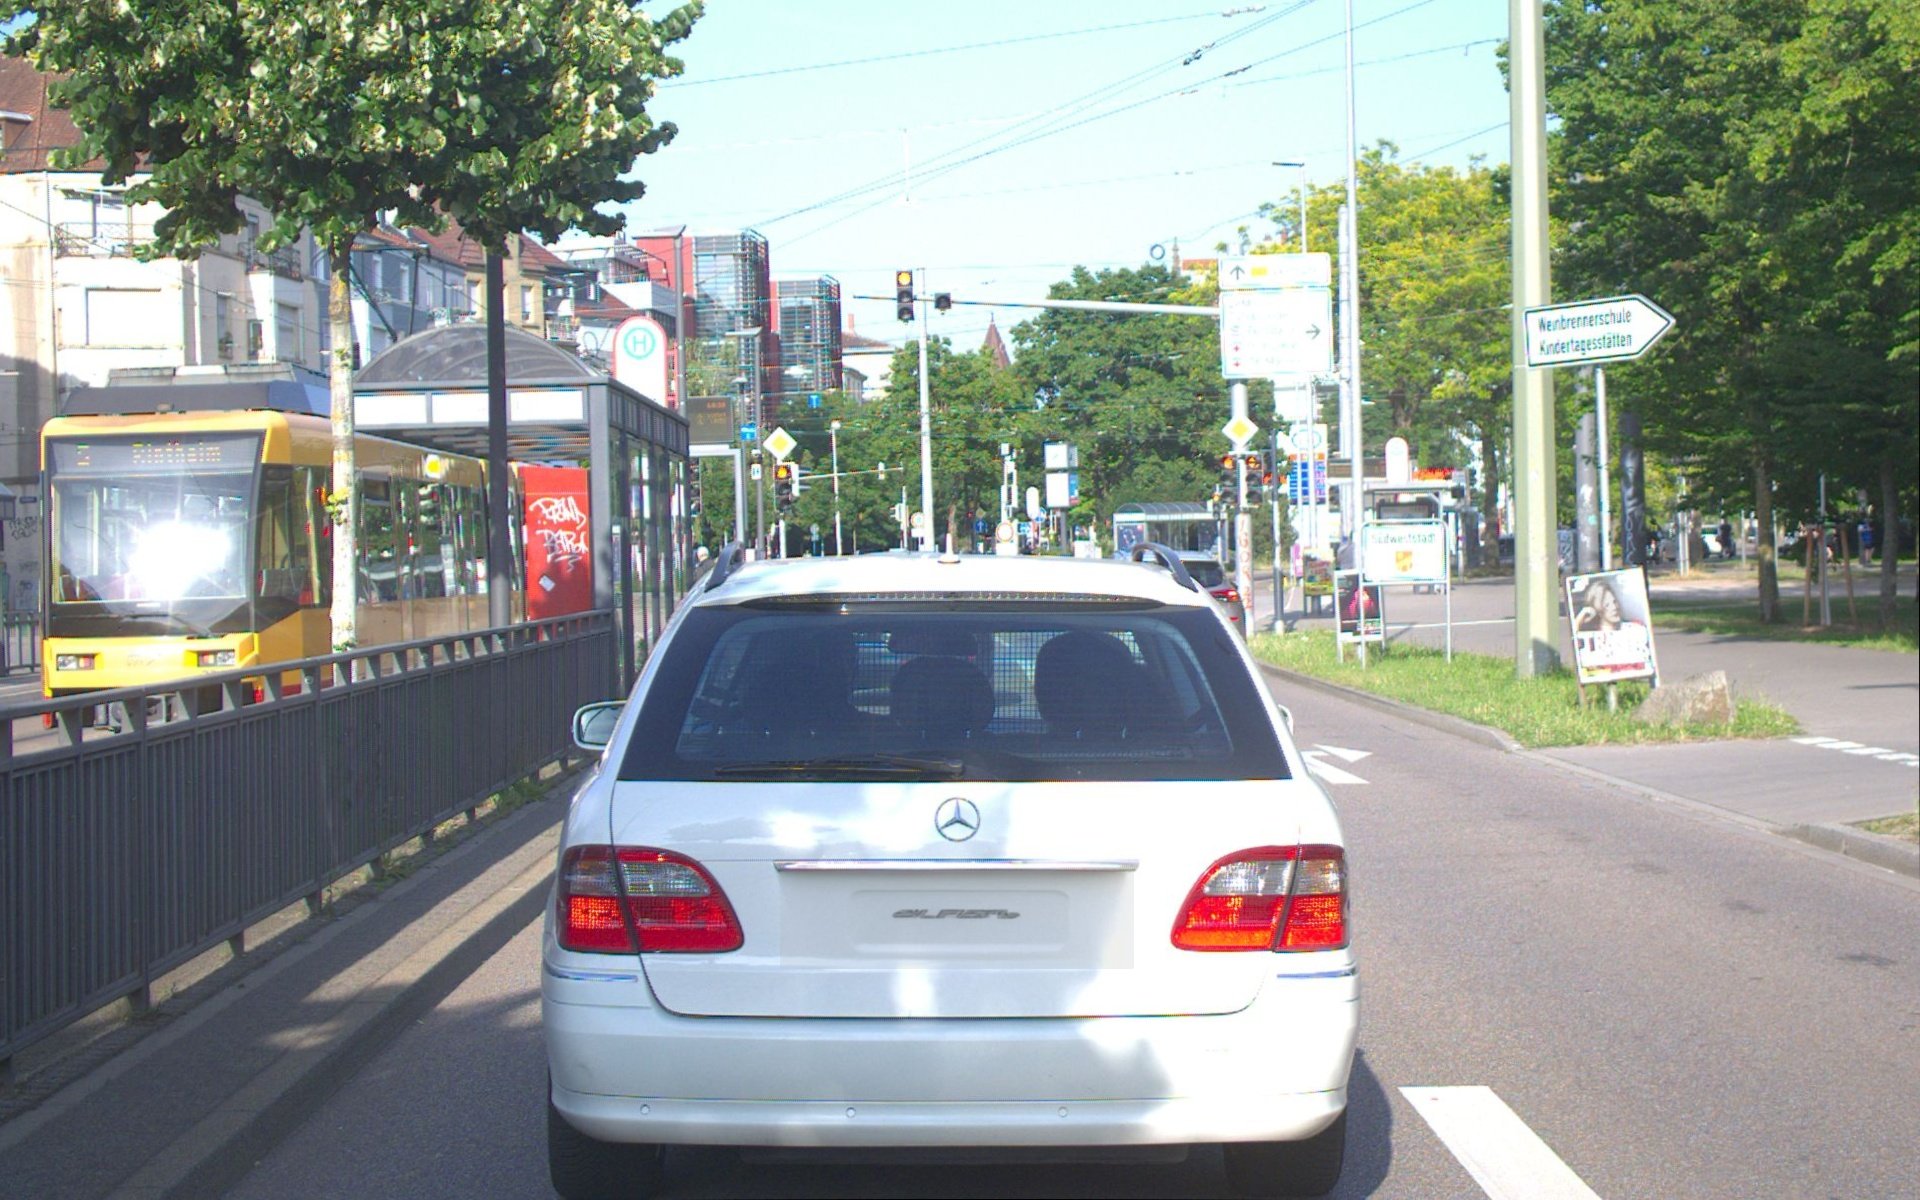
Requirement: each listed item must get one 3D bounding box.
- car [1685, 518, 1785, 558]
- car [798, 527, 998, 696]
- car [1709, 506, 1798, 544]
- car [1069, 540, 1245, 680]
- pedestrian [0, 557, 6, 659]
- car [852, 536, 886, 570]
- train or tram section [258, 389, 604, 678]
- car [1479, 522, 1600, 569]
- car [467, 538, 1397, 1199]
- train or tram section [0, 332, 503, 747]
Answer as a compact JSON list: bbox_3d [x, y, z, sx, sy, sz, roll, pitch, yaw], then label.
[{"bbox_3d":[34.883,-2.781,154.741,3.986,1.645,2.000,-2,1,-27],"label":"car"},{"bbox_3d":[-0.604,0.079,36.672,1.787,1.684,4.000,-1,1,4],"label":"car"},{"bbox_3d":[37.029,-3.501,160.362,3.989,1.645,1.999,-1,1,14],"label":"car"},{"bbox_3d":[2.423,0.081,42.090,2.033,1.600,4.000,-1,1,4],"label":"car"},{"bbox_3d":[-17.017,0.141,59.505,0.886,1.747,0.746,-1,1,-11],"label":"pedestrian"},{"bbox_3d":[-5.578,-2.859,210.780,1.993,2.007,4.000,-2,1,-1],"label":"car"},{"bbox_3d":[-7.093,-0.949,48.245,2.849,3.467,13.201,-1,1,0],"label":"train or tram section"},{"bbox_3d":[21.439,-2.018,127.255,3.992,1.645,1.997,-1,1,25],"label":"car"},{"bbox_3d":[-0.030,0.631,8.637,1.758,1.498,4.000,-2,1,1],"label":"car"},{"bbox_3d":[-6.972,-0.667,35.367,2.849,3.467,13.201,0,1,0],"label":"train or tram section"}]
